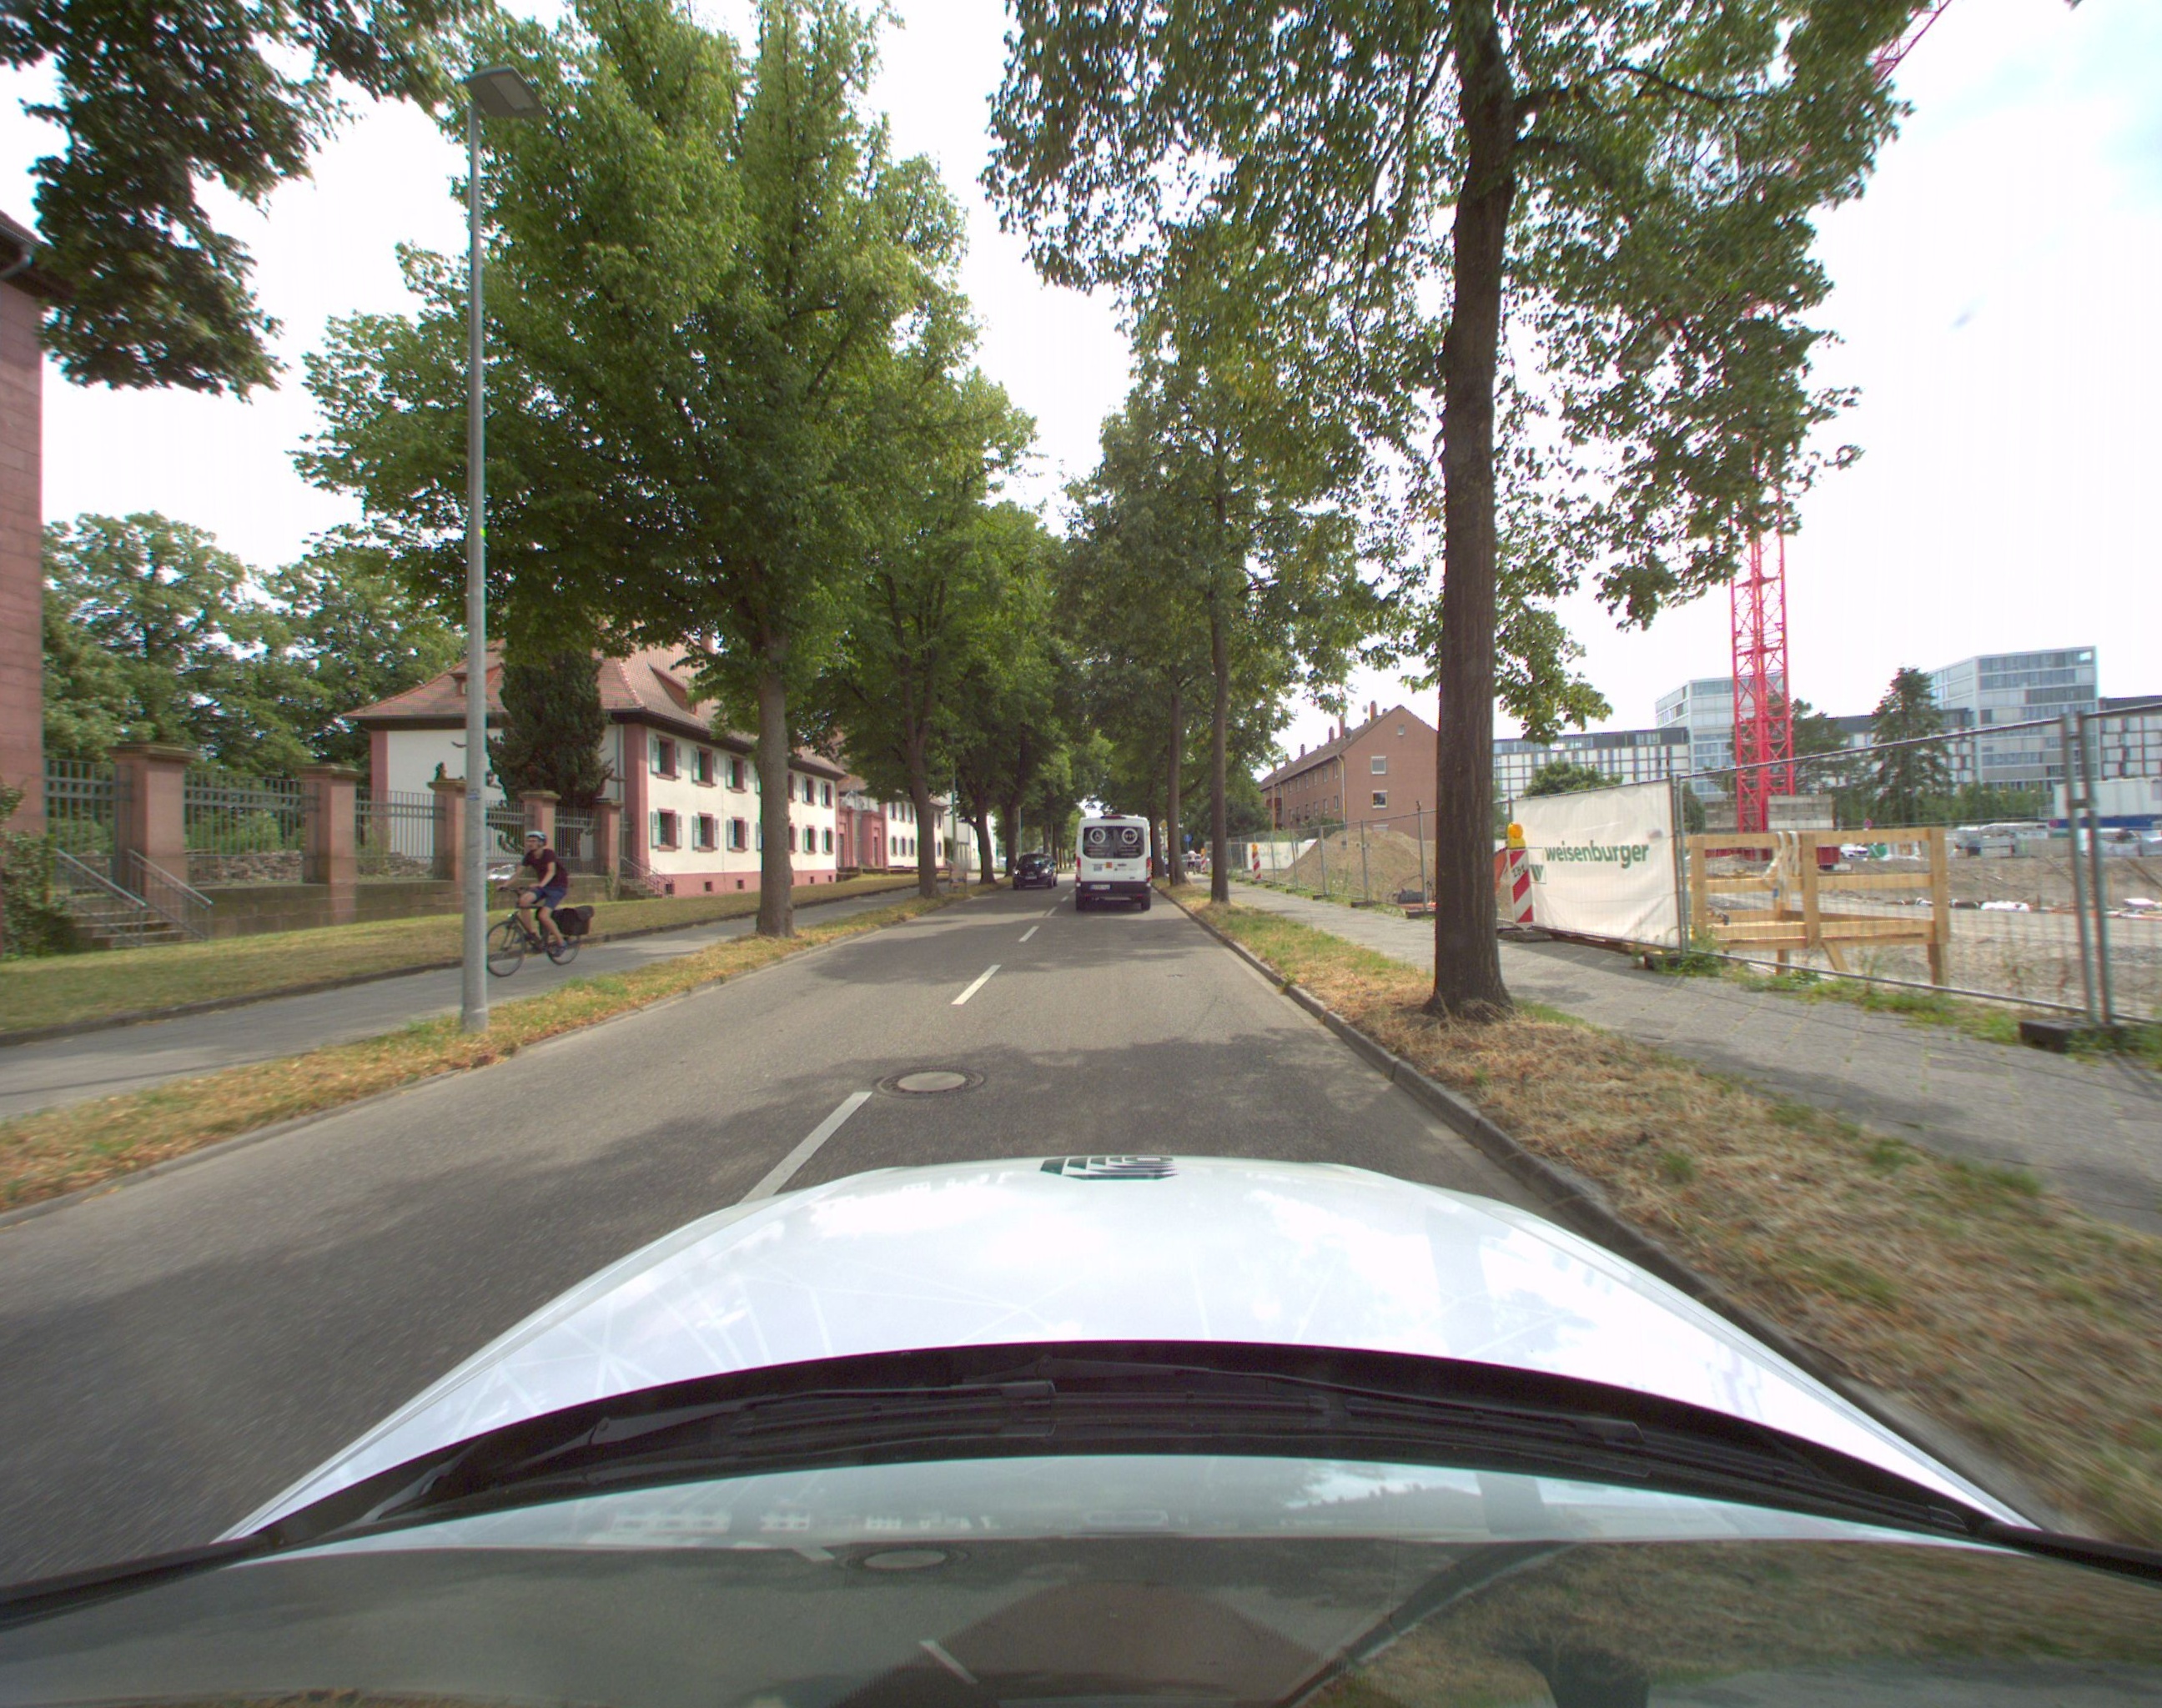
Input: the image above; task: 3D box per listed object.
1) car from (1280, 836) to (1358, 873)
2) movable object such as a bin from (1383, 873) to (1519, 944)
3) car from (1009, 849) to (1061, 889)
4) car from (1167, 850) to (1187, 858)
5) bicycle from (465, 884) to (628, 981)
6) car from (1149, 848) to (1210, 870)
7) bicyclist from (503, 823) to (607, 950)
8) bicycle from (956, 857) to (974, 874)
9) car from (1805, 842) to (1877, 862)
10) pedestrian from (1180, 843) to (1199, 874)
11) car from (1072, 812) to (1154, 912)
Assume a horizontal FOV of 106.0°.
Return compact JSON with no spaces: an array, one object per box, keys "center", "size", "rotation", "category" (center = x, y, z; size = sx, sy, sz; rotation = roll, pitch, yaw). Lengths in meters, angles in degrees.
[{"center":[18.478,0.013,63.444],"size":[5.449,2.632,2.338],"rotation":[-2,1,3],"category":"car"},{"center":[15.340,2.243,34.154],"size":[4.647,2.590,3.146],"rotation":[-3,-1,16],"category":"movable object such as a bin"},{"center":[-2.037,0.633,37.451],"size":[1.763,1.659,4.263],"rotation":[-2,1,5],"category":"car"},{"center":[22.584,-0.001,191.428],"size":[4.362,1.816,2.023],"rotation":[-3,-1,18],"category":"car"},{"center":[-7.271,1.014,11.240],"size":[0.720,1.095,2.152],"rotation":[2,0,2],"category":"bicycle"},{"center":[7.312,0.408,60.803],"size":[4.353,1.443,2.012],"rotation":[-2,-3,3],"category":"car"},{"center":[-7.251,0.434,11.278],"size":[0.720,1.656,0.959],"rotation":[2,0,1],"category":"bicyclist"},{"center":[-7.638,0.739,53.616],"size":[0.720,1.095,2.226],"rotation":[2,0,2],"category":"bicycle"},{"center":[60.061,-0.196,64.436],"size":[1.712,1.416,4.206],"rotation":[-2,2,-1],"category":"car"},{"center":[6.720,0.278,50.521],"size":[0.875,1.814,0.893],"rotation":[-3,-1,21],"category":"pedestrian"},{"center":[0.796,0.196,22.746],"size":[2.057,2.540,3.998],"rotation":[-1,0,-1],"category":"car"}]
